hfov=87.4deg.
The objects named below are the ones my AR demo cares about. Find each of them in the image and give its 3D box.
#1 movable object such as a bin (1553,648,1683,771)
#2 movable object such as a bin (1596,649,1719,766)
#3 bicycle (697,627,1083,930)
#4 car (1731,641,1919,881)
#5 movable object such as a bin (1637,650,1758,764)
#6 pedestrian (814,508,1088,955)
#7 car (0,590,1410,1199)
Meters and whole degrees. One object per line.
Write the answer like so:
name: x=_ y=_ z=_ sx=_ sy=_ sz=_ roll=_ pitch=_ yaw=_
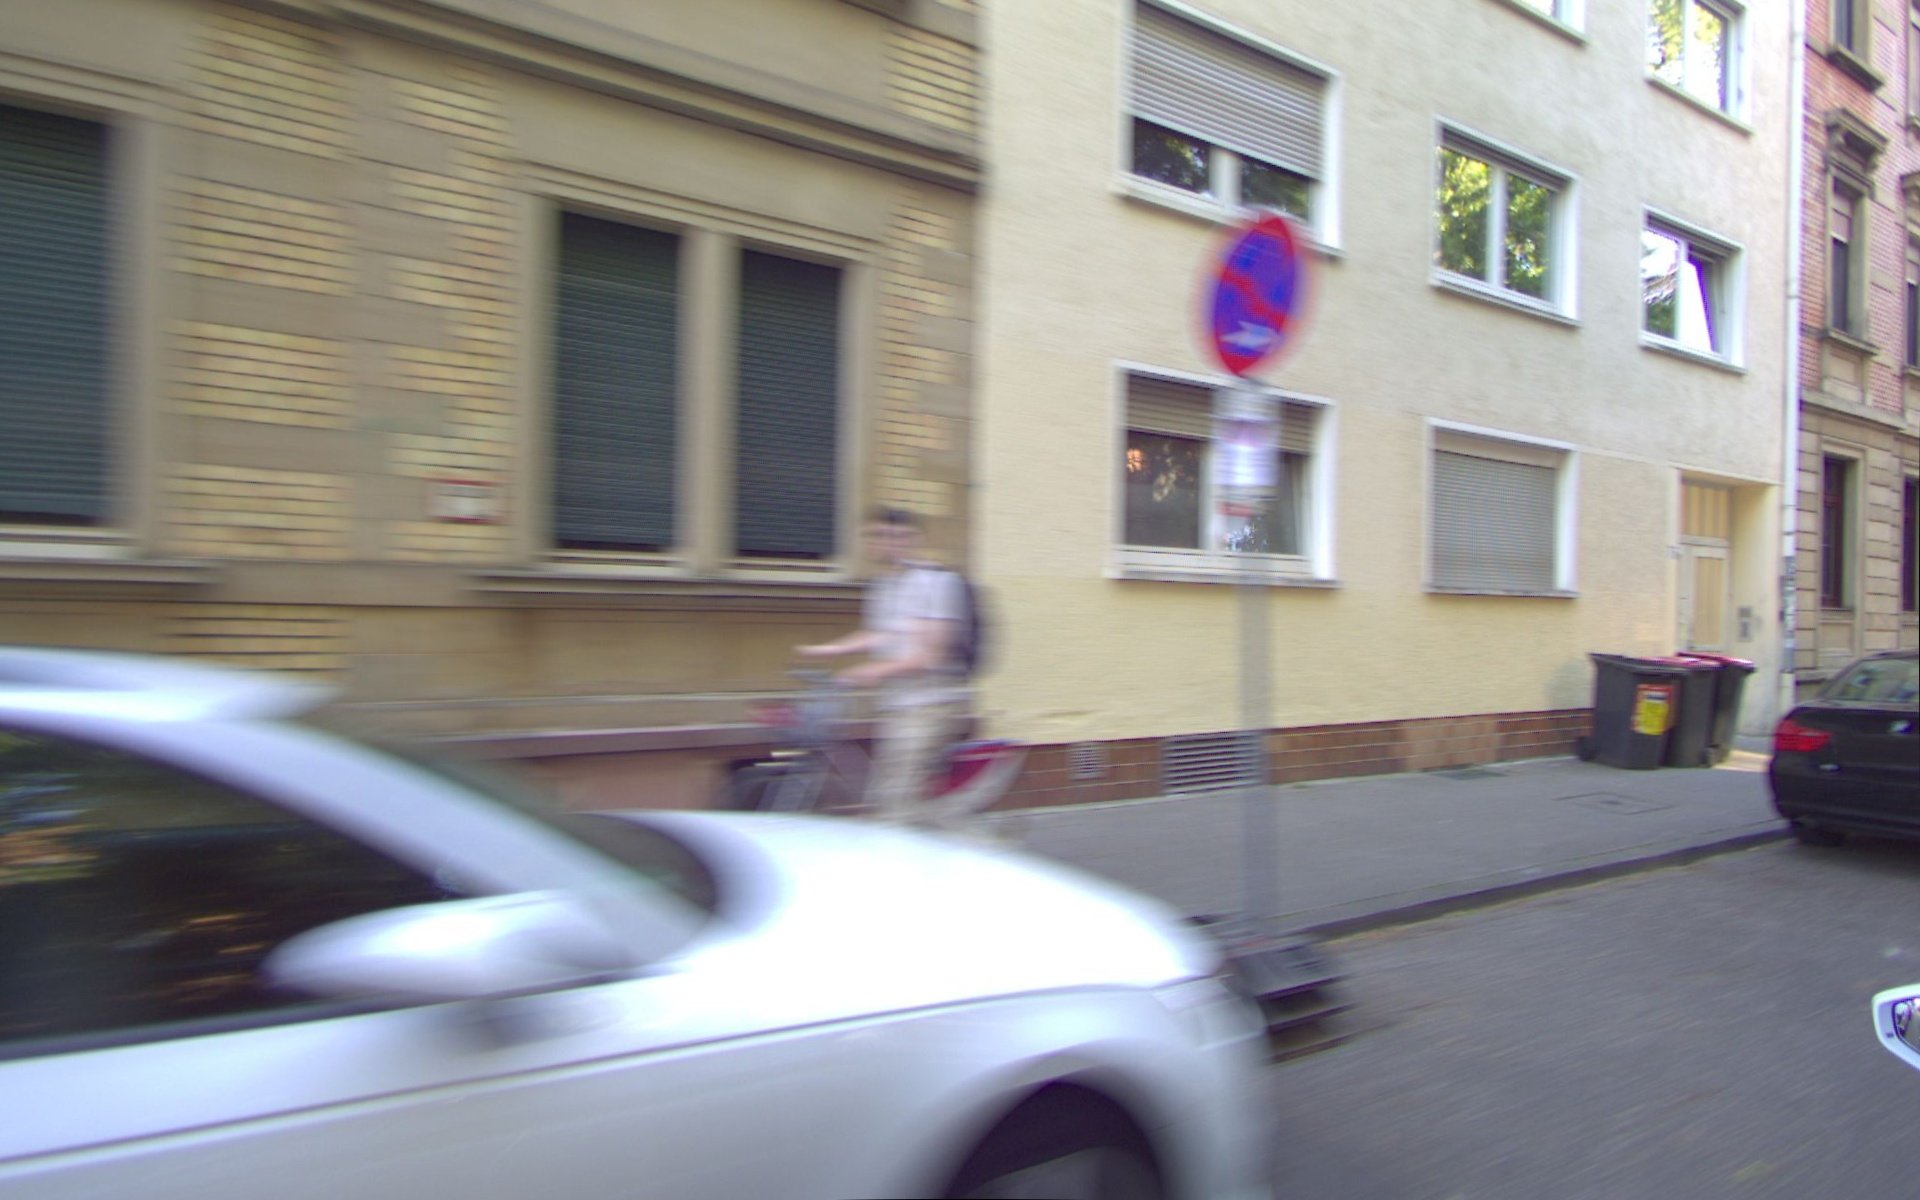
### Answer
movable object such as a bin: x=6.449 y=1.050 z=9.859 sx=0.666 sy=1.102 sz=0.833 roll=2 pitch=-1 yaw=-27
movable object such as a bin: x=7.080 y=1.070 z=10.218 sx=0.657 sy=1.102 sz=0.798 roll=2 pitch=-1 yaw=-26
bicycle: x=-0.309 y=0.790 z=5.004 sx=1.823 sy=1.260 sz=0.567 roll=1 pitch=2 yaw=-31
car: x=7.497 y=0.999 z=7.070 sx=4.262 sy=1.420 sz=1.724 roll=1 pitch=-3 yaw=-29
movable object such as a bin: x=7.741 y=1.102 z=10.563 sx=0.657 sy=1.102 sz=0.798 roll=2 pitch=-1 yaw=-26
pedestrian: x=-0.034 y=0.543 z=4.589 sx=1.102 sy=1.827 sz=0.485 roll=1 pitch=2 yaw=-32
car: x=-1.403 y=0.759 z=1.731 sx=4.468 sy=1.475 sz=1.723 roll=1 pitch=-3 yaw=-30
